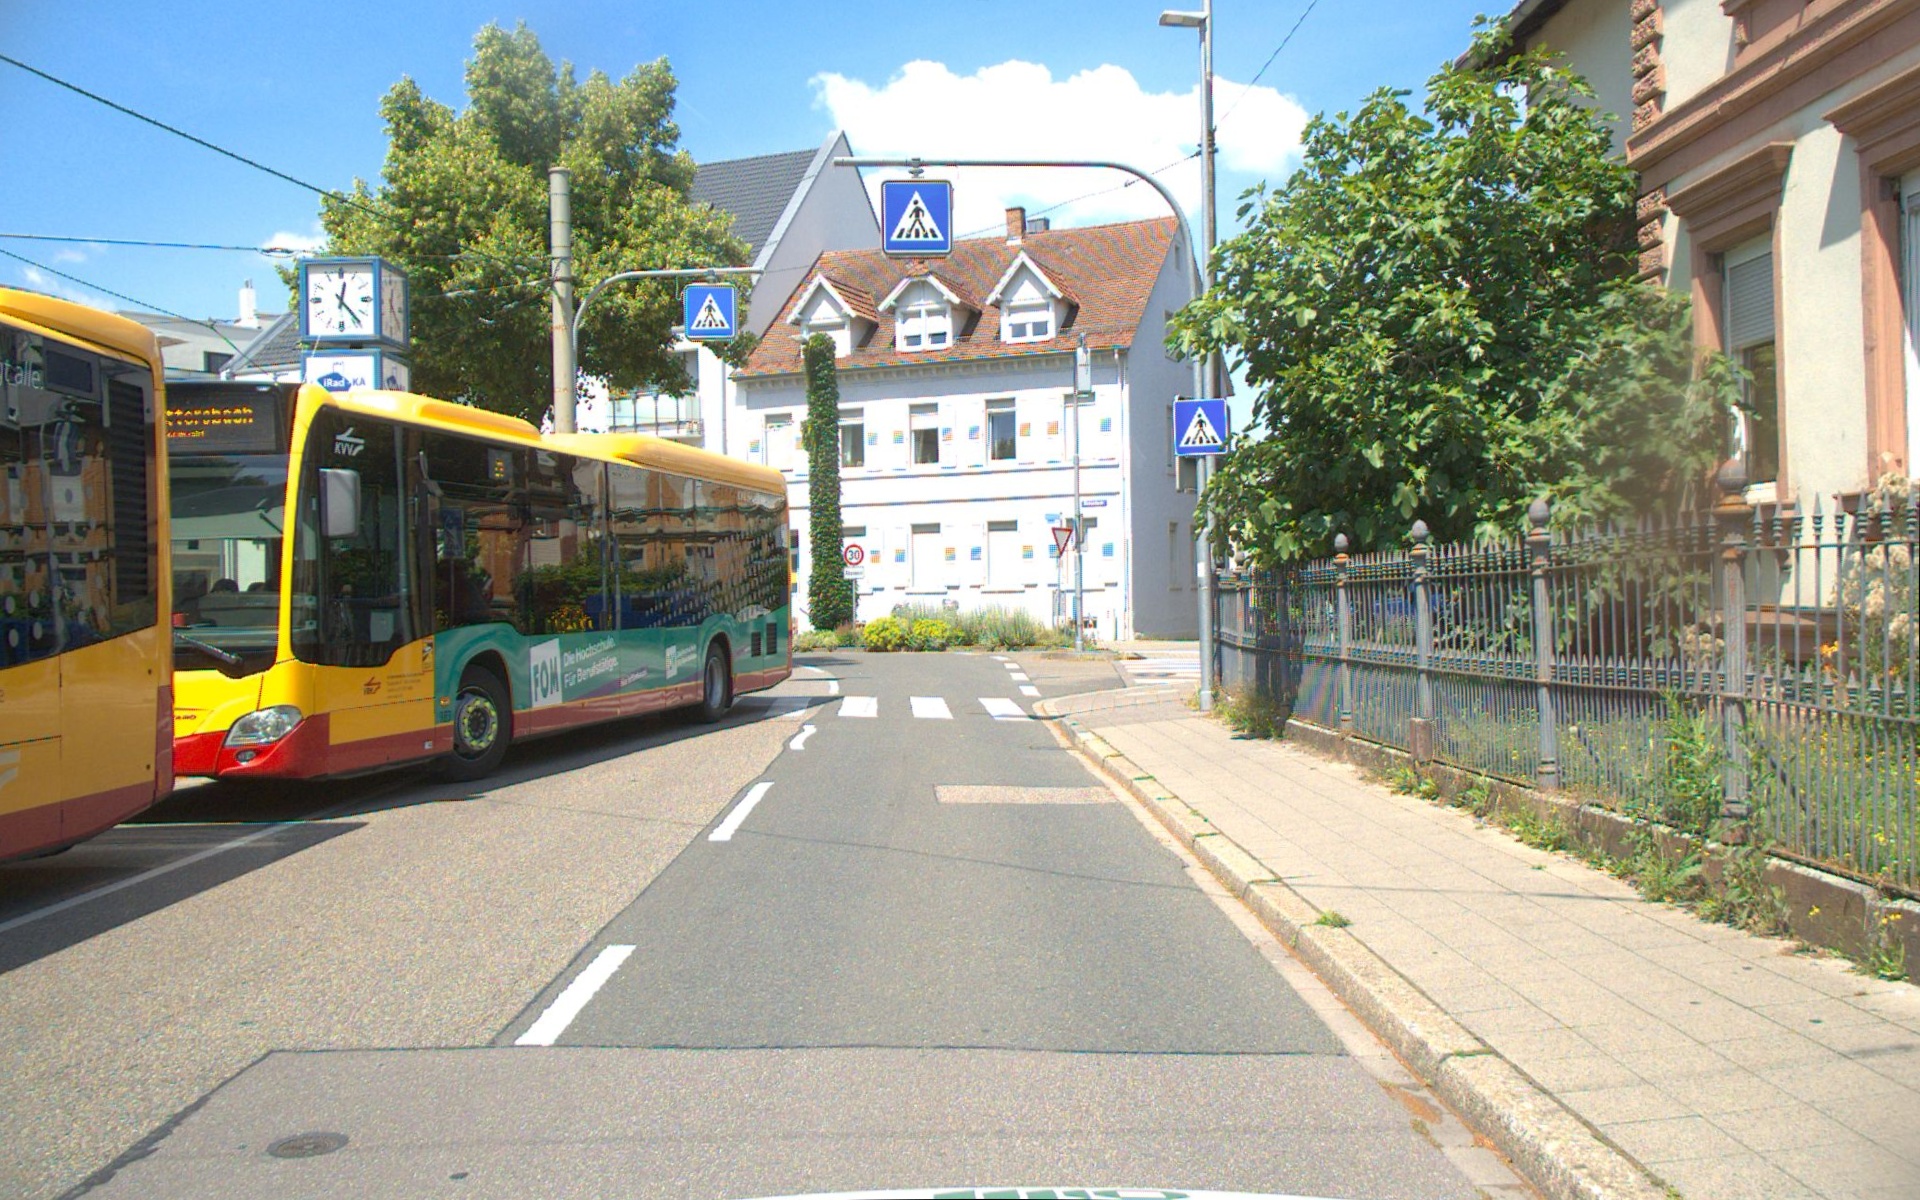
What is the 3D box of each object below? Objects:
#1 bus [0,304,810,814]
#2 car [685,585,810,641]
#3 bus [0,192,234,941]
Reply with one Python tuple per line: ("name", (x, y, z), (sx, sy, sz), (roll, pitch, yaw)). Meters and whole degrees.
("bus", (-4.495, -0.331, 16.894), (2.720, 3.264, 12.317), (1, 1, 10))
("car", (-6.441, 0.407, 50.089), (3.539, 1.614, 1.581), (0, -2, 30))
("bus", (-5.555, -0.196, 3.637), (2.849, 3.305, 12.113), (1, -1, -2))
